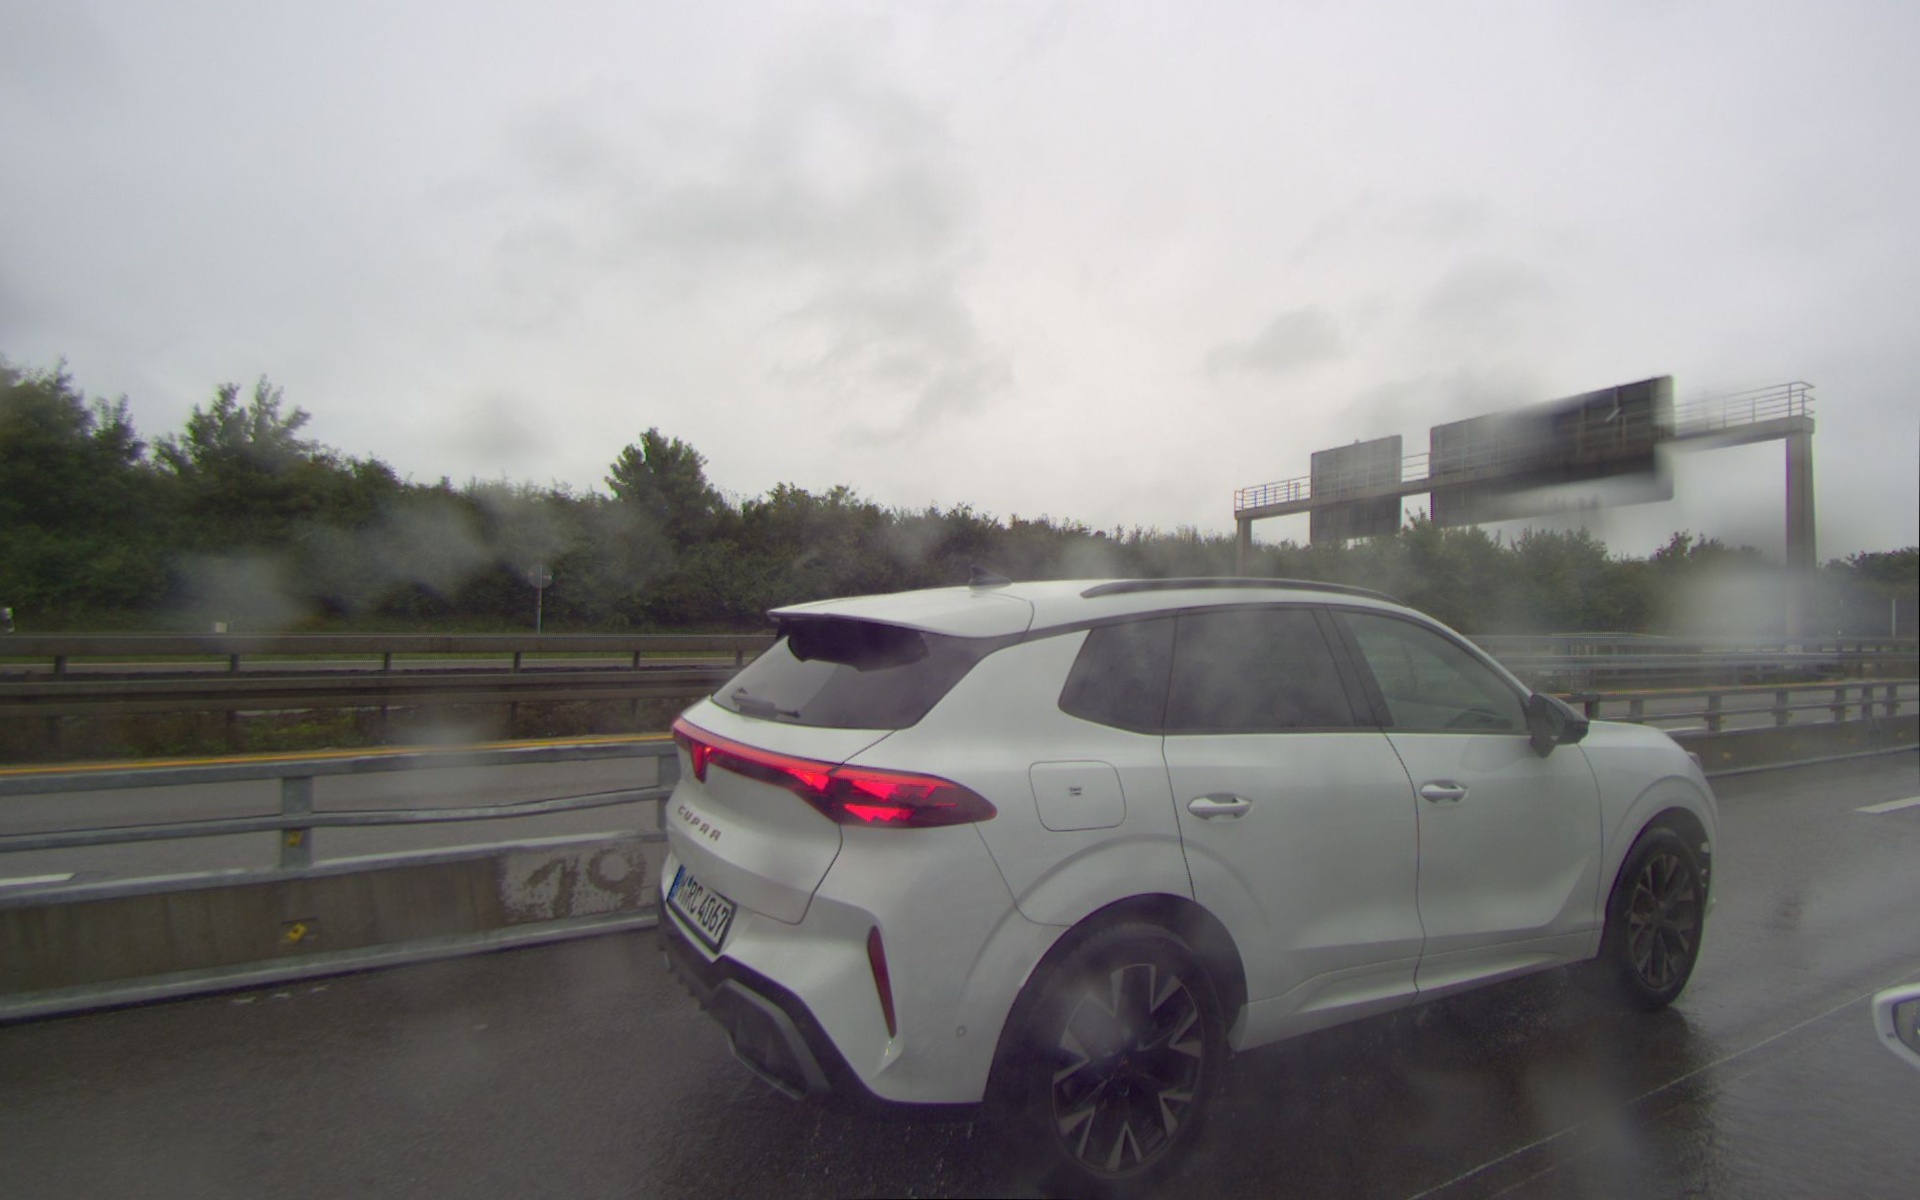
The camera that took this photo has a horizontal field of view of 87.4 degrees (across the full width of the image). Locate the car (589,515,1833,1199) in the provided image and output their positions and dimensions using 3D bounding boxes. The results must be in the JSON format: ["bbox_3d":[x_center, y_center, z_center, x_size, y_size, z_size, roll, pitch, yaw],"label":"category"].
[{"bbox_3d":[1.202,0.708,3.976,4.740,1.639,1.984,2,0,-30],"label":"car"}]
